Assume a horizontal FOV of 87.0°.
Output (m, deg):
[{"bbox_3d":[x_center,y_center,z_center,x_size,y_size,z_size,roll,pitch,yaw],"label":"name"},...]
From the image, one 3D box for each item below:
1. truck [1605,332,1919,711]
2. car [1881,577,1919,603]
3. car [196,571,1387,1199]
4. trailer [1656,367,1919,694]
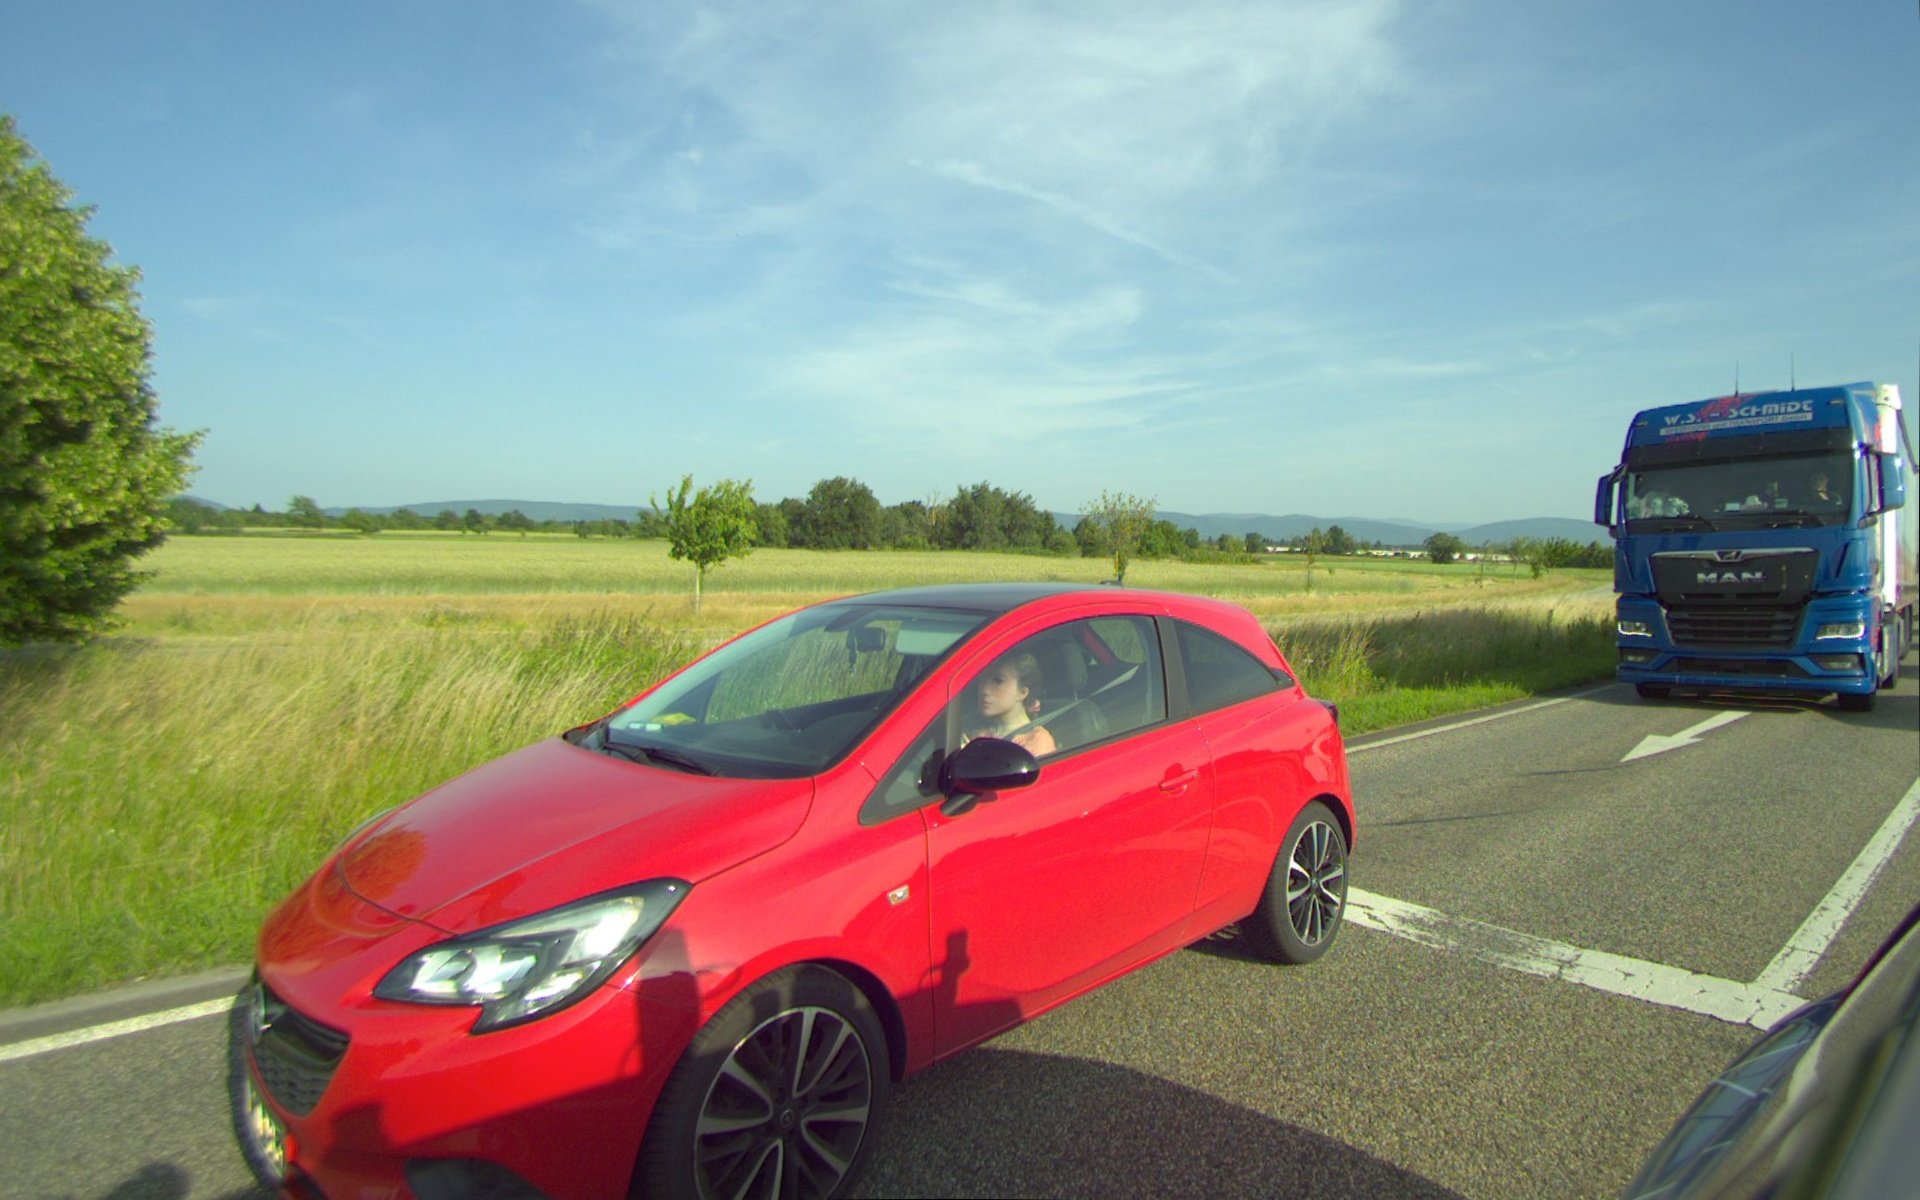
[{"bbox_3d":[10.990,-0.896,13.609,5.853,3.968,2.646,-2,1,-44],"label":"truck"},{"bbox_3d":[61.588,-0.680,65.970,1.989,1.552,3.946,1,2,38],"label":"car"},{"bbox_3d":[-0.152,0.644,3.562,3.890,1.482,1.663,-2,2,-44],"label":"car"},{"bbox_3d":[15.637,-1.009,18.275,2.646,4.028,13.707,0,1,45],"label":"trailer"}]
